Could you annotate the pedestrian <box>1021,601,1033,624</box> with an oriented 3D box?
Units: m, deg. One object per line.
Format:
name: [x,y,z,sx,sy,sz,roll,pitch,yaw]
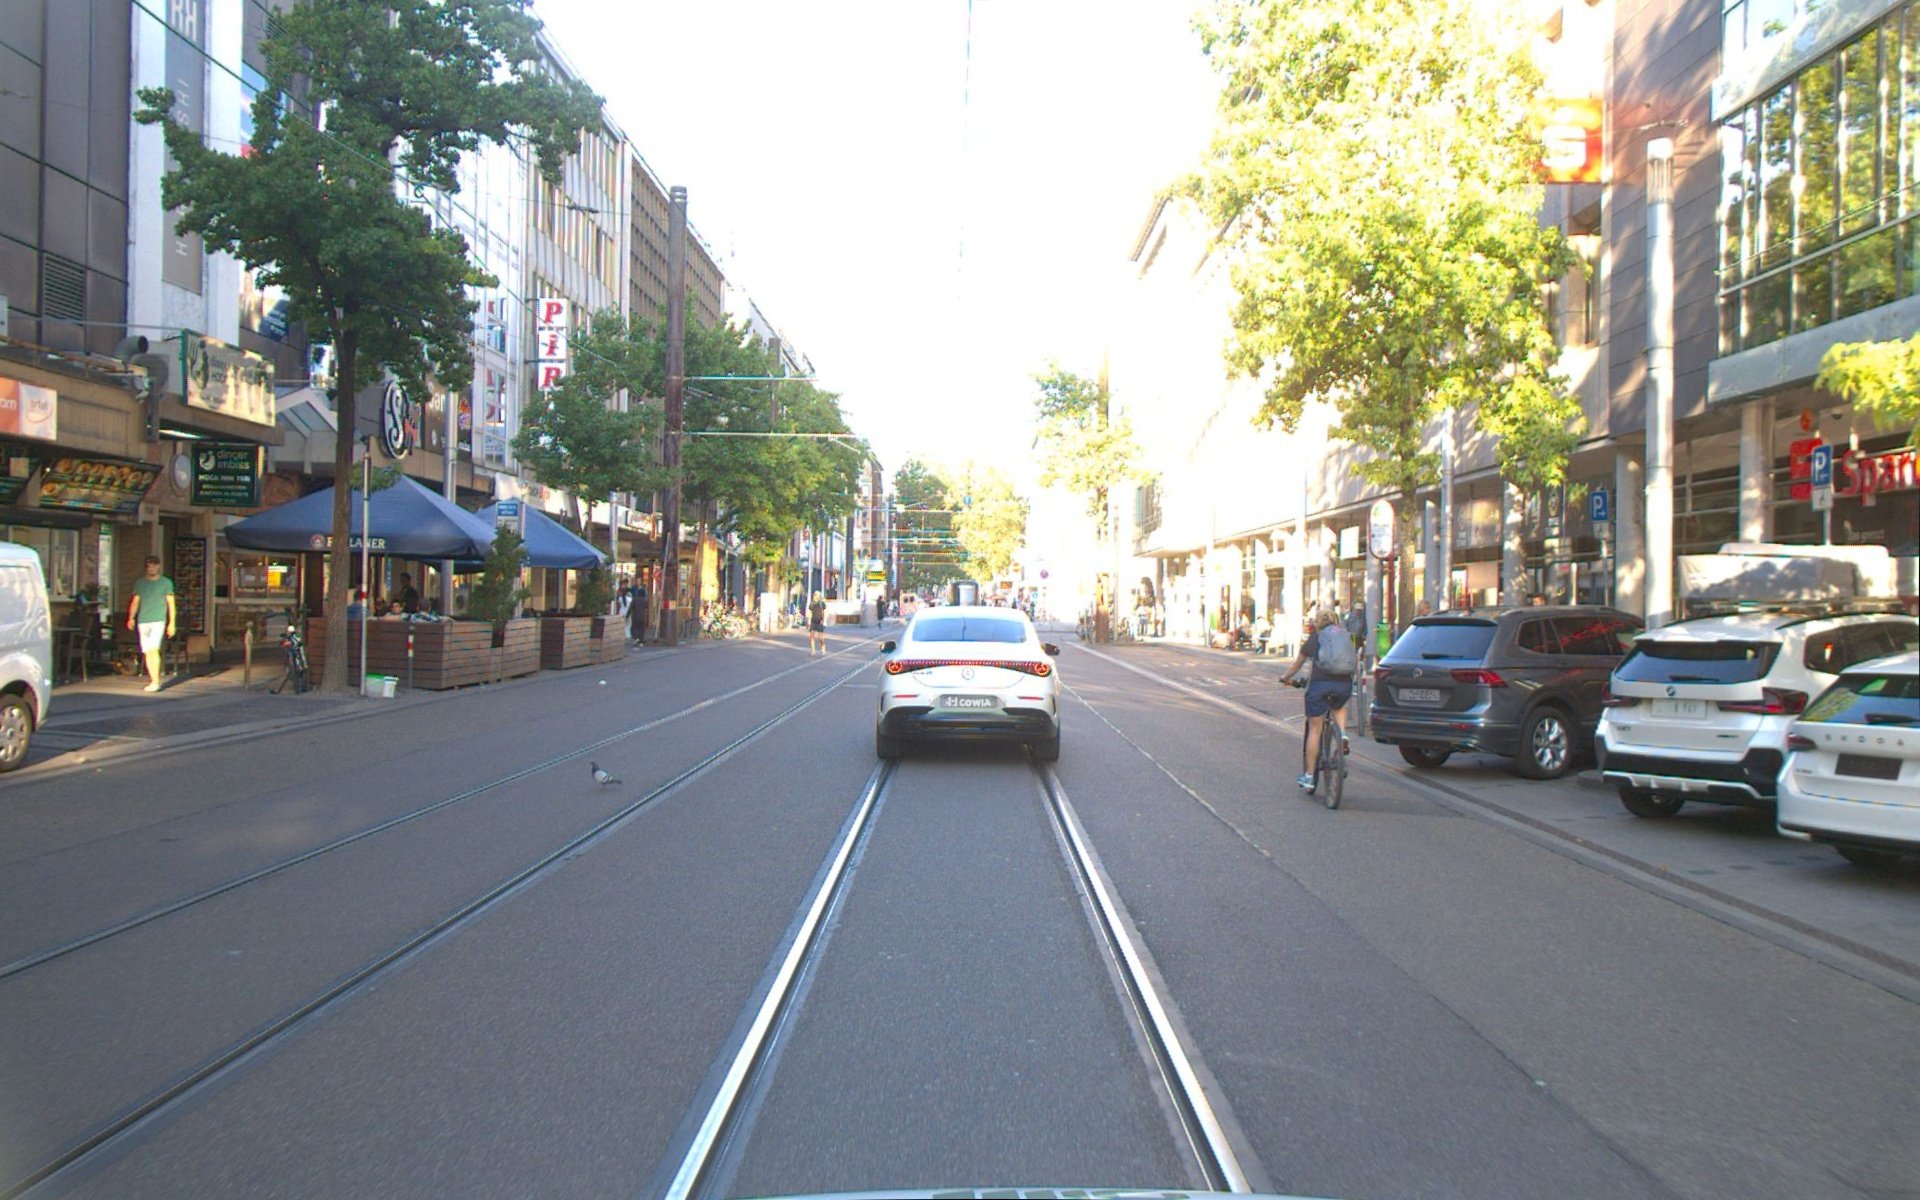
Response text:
pedestrian: [5.408,1.002,133.526,0.941,1.817,0.803,-1,0,0]

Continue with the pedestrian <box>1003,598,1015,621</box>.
pedestrian: [3.831,0.738,129.052,0.941,1.817,0.803,-1,0,0]

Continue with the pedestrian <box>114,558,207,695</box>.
pedestrian: [-10.435,0.335,21.614,0.653,1.715,1.005,3,0,0]

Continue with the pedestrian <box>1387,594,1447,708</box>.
pedestrian: [7.031,0.777,25.432,0.667,1.715,0.694,-2,0,34]

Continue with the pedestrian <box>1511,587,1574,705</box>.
pedestrian: [8.884,0.699,25.235,0.677,1.762,0.629,-2,0,42]

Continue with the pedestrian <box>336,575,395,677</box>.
pedestrian: [-9.863,0.427,27.451,0.659,1.635,0.719,2,0,-1]

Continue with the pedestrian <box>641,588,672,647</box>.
pedestrian: [-8.426,0.488,45.897,0.609,1.577,0.852,3,0,1]

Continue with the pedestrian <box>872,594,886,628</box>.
pedestrian: [-4.772,0.635,97.529,0.531,1.963,0.569,0,-1,44]

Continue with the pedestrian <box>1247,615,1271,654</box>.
pedestrian: [9.640,1.104,53.358,0.652,1.219,0.785,1,0,5]

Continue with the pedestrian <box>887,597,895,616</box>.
pedestrian: [-5.792,0.561,138.623,0.646,1.627,0.573,1,0,-1]

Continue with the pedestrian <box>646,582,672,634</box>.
pedestrian: [-10.597,0.280,58.254,0.609,1.778,0.933,3,0,1]

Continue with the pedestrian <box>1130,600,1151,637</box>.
pedestrian: [8.887,0.928,81.371,0.881,1.775,0.689,-3,0,-1]

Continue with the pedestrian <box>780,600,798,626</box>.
pedestrian: [-9.979,0.773,96.625,0.936,1.522,0.944,1,0,1]

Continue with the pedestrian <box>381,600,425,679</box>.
pedestrian: [-8.956,0.633,26.600,0.484,1.249,0.535,2,0,-1]

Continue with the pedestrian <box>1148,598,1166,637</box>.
pedestrian: [9.634,0.860,80.928,0.687,1.844,1.033,-3,0,0]

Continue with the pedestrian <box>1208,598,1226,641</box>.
pedestrian: [10.319,0.780,66.454,0.624,1.682,0.781,1,0,1]

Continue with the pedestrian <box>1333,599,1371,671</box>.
pedestrian: [9.060,0.801,38.210,0.667,1.600,0.632,2,0,1]

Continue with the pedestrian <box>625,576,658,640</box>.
pedestrian: [-10.124,0.246,52.583,0.785,1.957,1.071,3,0,-3]

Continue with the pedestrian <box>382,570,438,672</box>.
pedestrian: [-9.706,0.362,29.211,0.703,1.755,0.675,2,0,-1]

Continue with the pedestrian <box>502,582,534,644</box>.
pedestrian: [-11.436,0.333,42.808,0.585,1.559,0.671,2,0,1]

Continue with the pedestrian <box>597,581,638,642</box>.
pedestrian: [-10.225,0.340,49.414,0.832,1.771,0.835,2,0,20]

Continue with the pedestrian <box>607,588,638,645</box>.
pedestrian: [-9.375,0.451,45.958,0.609,1.535,0.833,3,0,1]

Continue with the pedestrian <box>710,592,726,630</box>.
pedestrian: [-10.975,0.497,75.047,0.700,1.668,0.684,1,0,-6]

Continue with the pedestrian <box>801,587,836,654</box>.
pedestrian: [-3.995,0.570,46.640,0.824,1.832,0.790,2,0,1]

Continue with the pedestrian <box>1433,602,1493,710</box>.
pedestrian: [7.526,0.828,24.739,0.597,1.579,0.685,-2,0,44]

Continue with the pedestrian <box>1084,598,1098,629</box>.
pedestrian: [7.695,0.787,97.253,0.733,1.817,0.766,-1,0,0]

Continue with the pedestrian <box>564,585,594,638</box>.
pedestrian: [-11.643,0.346,50.549,0.609,1.552,0.809,3,0,1]

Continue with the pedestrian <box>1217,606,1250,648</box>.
pedestrian: [9.392,0.927,56.814,0.821,1.401,0.772,1,0,-22]

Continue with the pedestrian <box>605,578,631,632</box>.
pedestrian: [-11.950,0.179,57.828,0.609,1.835,0.933,3,0,1]

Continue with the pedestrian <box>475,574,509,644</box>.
pedestrian: [-12.107,0.226,42.804,0.585,1.775,0.671,2,0,1]

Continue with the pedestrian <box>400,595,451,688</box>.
pedestrian: [-8.150,0.623,25.237,0.538,1.380,0.582,2,0,-1]

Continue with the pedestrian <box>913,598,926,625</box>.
pedestrian: [-2.780,0.819,114.196,0.784,1.813,0.849,2,0,-1]

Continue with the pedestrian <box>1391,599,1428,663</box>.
pedestrian: [11.493,0.791,42.340,0.681,1.617,0.925,1,0,1]

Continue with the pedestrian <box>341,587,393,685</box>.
pedestrian: [-9.026,0.544,25.196,0.538,1.454,0.582,2,0,-1]

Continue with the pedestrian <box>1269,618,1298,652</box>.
pedestrian: [10.159,1.098,51.915,0.818,1.049,0.696,1,0,5]

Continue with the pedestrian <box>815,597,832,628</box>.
pedestrian: [-7.788,0.727,94.253,0.886,1.728,0.849,1,0,1]
